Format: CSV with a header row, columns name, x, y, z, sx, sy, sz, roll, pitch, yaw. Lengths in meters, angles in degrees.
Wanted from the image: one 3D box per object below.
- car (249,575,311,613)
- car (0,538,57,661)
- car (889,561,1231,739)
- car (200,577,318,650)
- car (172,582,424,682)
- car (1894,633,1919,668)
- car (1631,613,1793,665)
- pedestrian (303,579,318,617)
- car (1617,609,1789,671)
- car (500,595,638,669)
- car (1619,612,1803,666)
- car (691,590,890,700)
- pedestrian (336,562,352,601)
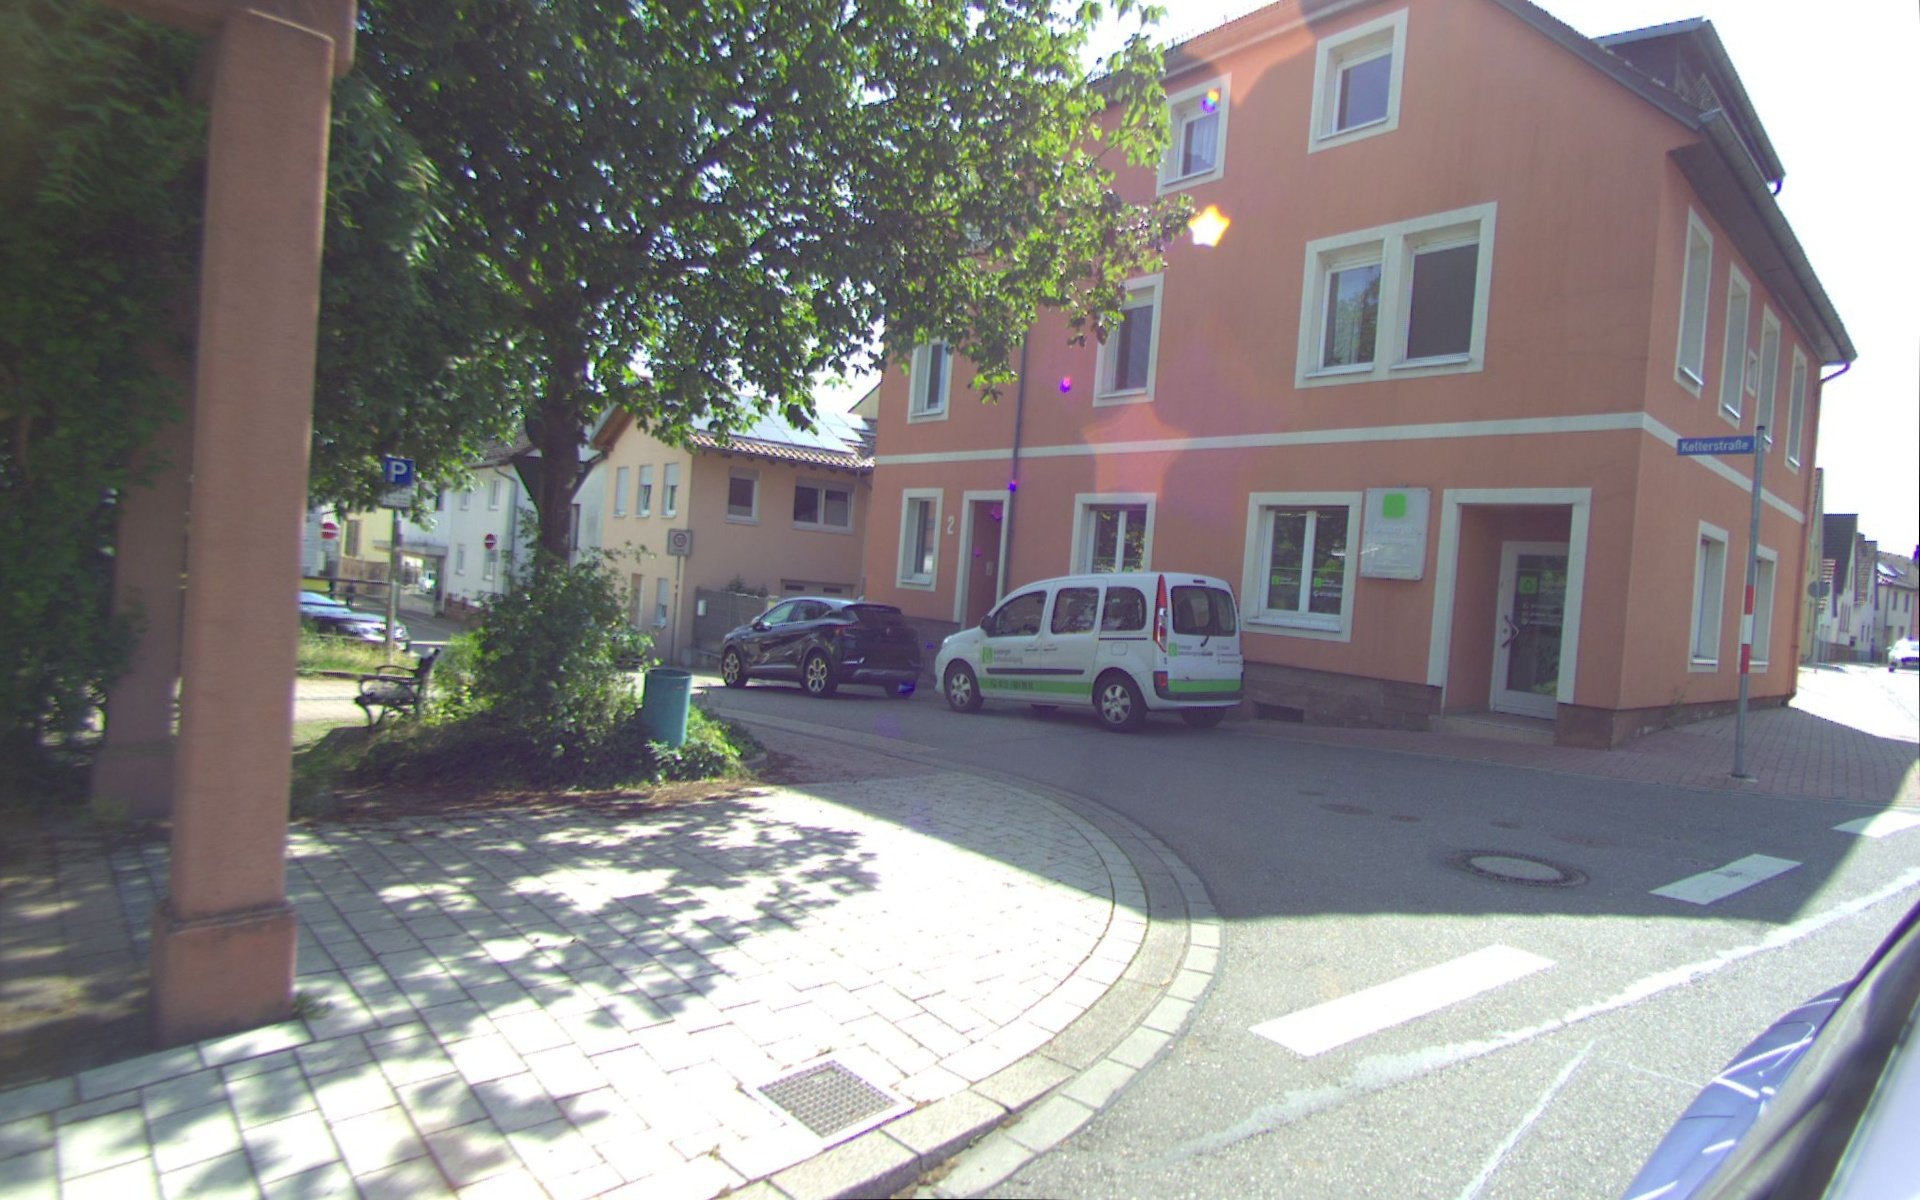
name,x,y,z,sx,sy,sz,roll,pitch,yaw
car,-30.105,-0.271,44.757,1.823,1.614,4.031,1,0,-40
car,-13.302,-0.091,13.550,3.872,1.449,1.497,5,3,44
car,1.046,0.536,12.305,1.780,1.776,4.095,1,-1,-39
car,-19.593,0.323,28.243,4.025,1.719,1.927,4,3,44
car,-11.805,0.545,18.151,3.598,1.592,1.638,2,-1,9
car,47.243,2.497,49.756,1.775,1.561,4.036,3,2,42
car,28.373,1.448,38.273,1.879,1.516,4.641,3,1,-44
pedestrian,-30.981,-0.096,48.272,0.535,1.774,0.589,2,0,-35
car,26.272,1.347,35.900,1.933,1.832,4.640,1,2,-44
car,-9.548,0.714,24.545,1.905,1.614,4.031,1,0,-40
car,24.357,1.224,32.940,1.933,1.283,4.544,3,2,-44
car,-2.770,0.674,16.068,1.549,1.545,3.496,1,-2,-41
pedestrian,-29.674,-0.884,48.763,0.583,1.864,0.686,2,0,-35
